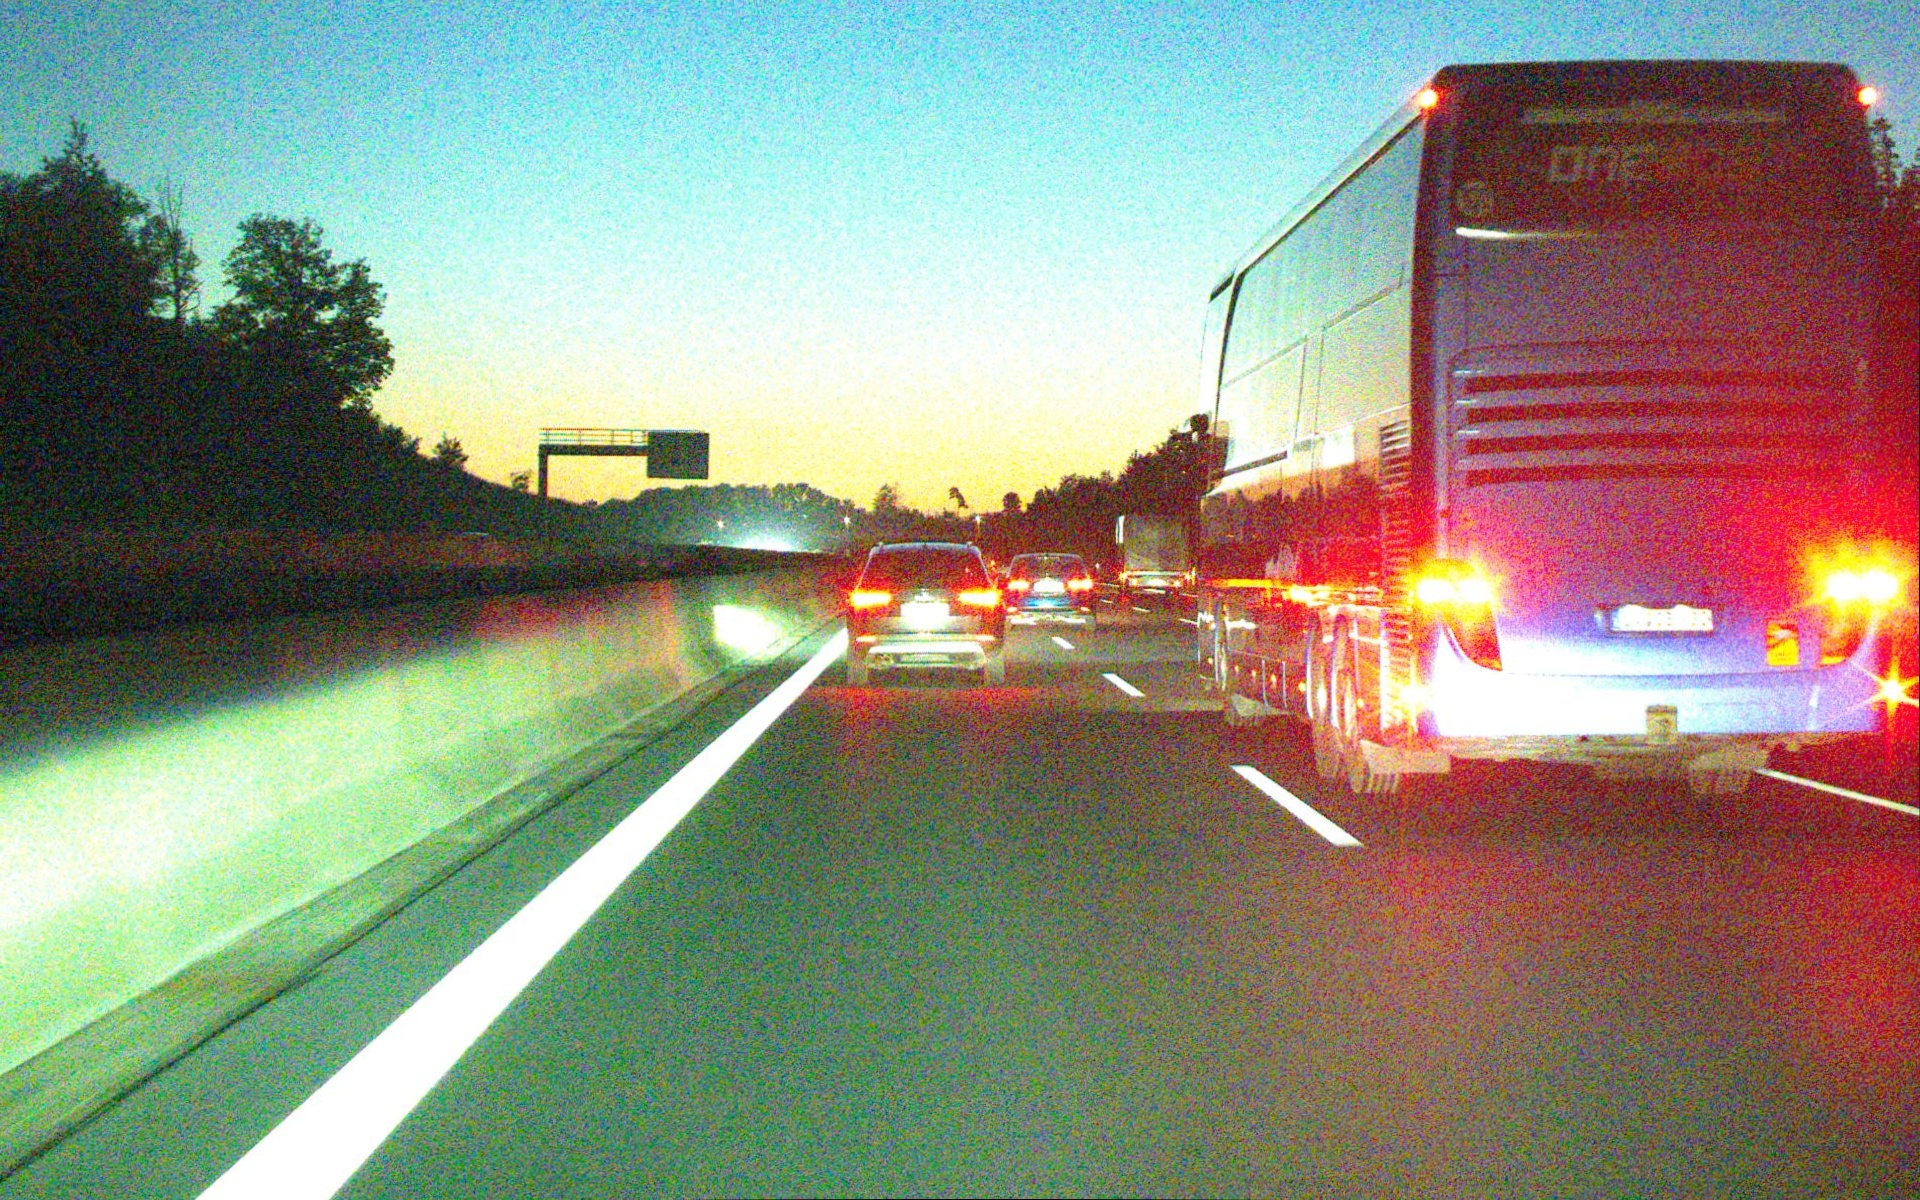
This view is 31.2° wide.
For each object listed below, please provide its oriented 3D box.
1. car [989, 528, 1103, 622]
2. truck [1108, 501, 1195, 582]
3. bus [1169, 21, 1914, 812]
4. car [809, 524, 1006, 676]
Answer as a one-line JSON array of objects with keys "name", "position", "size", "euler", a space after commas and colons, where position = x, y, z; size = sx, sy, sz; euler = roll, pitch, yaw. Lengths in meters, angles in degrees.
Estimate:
[{"name": "car", "position": [1.615, -0.470, 65.691], "size": [1.911, 1.724, 4.000], "euler": [0, 0, -2]}, {"name": "truck", "position": [7.074, -2.171, 128.046], "size": [2.602, 2.865, 7.486], "euler": [1, 1, -1]}, {"name": "bus", "position": [3.402, -0.988, 24.832], "size": [2.652, 3.980, 14.702], "euler": [1, 0, -1]}, {"name": "car", "position": [-0.627, -0.011, 39.328], "size": [2.105, 1.612, 4.205], "euler": [1, 0, -2]}]
